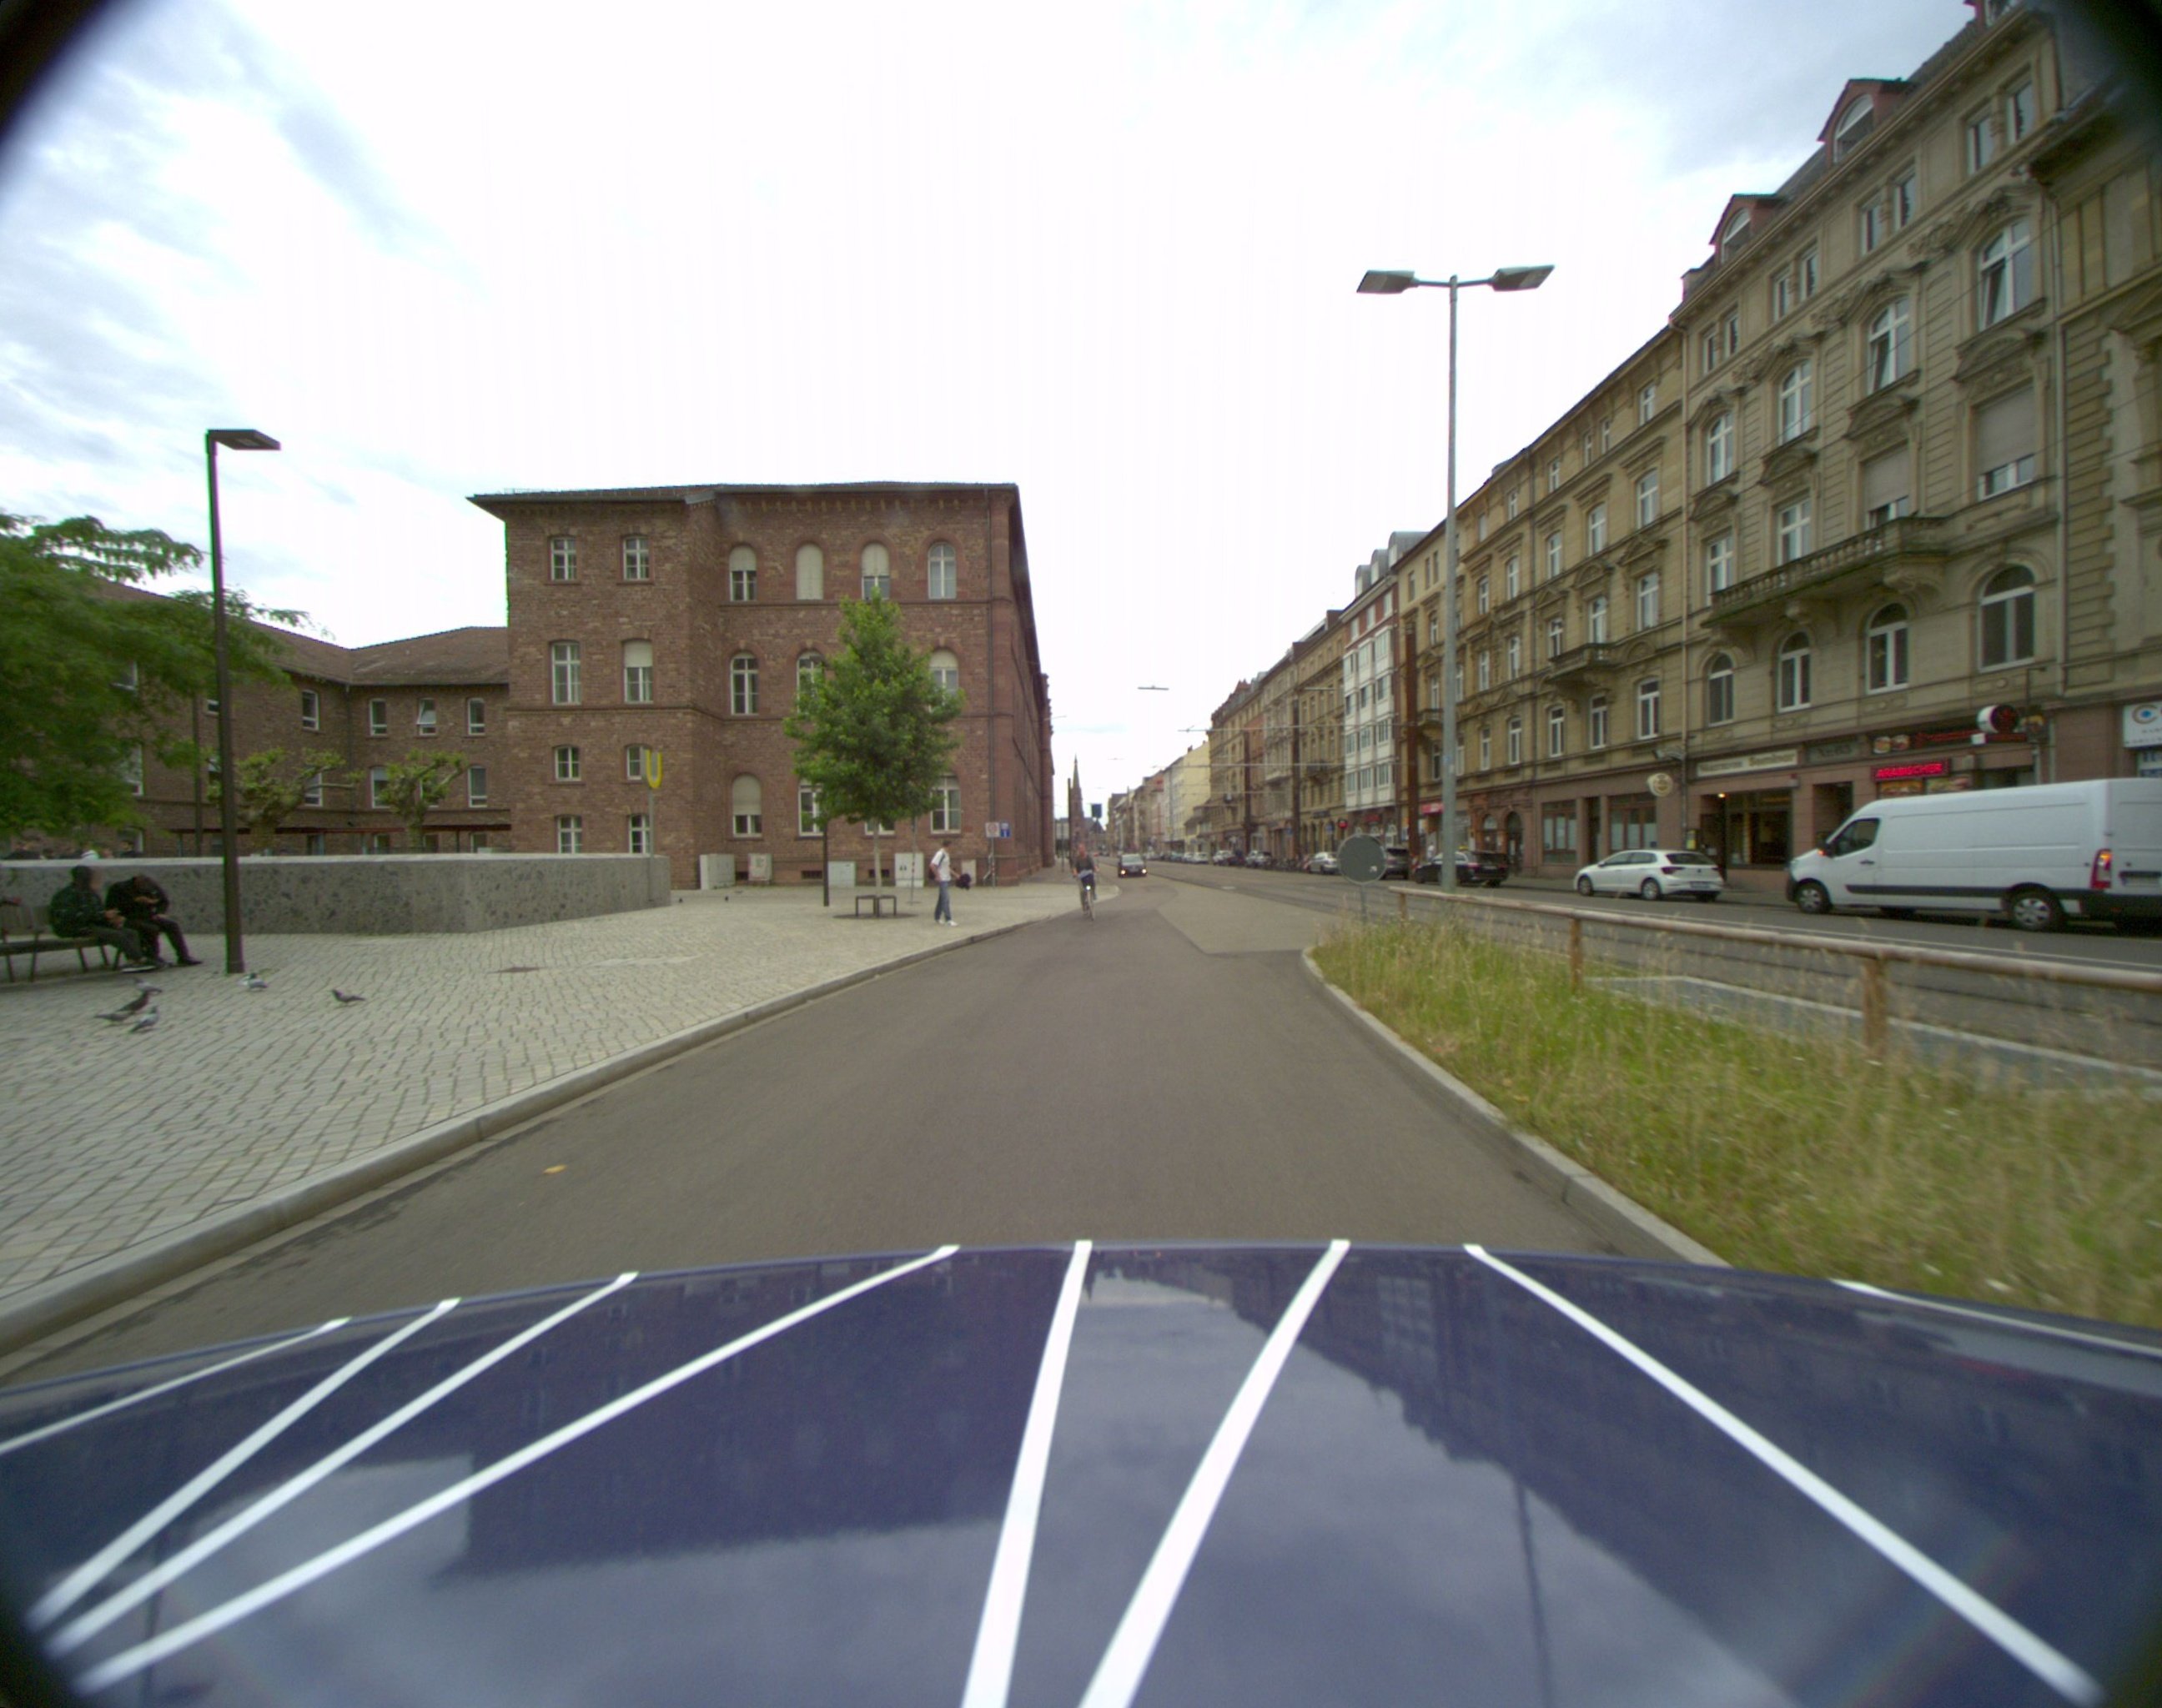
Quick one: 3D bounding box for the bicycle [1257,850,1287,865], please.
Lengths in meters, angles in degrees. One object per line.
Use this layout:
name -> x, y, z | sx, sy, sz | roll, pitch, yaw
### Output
bicycle -> 15.750, 0.270, 62.695 | 2.288, 1.196, 0.547 | -2, 1, -1

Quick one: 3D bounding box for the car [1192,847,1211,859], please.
car -> 15.219, -0.132, 96.051 | 1.748, 1.456, 4.045 | 0, 0, -2

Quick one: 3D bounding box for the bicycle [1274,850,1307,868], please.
bicycle -> 15.982, 0.371, 57.974 | 2.288, 1.322, 0.666 | 1, 1, -1

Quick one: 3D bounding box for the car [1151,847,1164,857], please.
car -> 14.256, -0.310, 141.329 | 1.929, 1.722, 3.825 | -2, 1, -2

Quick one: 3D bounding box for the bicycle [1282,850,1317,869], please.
bicycle -> 15.864, 0.374, 55.148 | 2.288, 1.322, 0.666 | 1, 1, -1

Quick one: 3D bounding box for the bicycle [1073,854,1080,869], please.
bicycle -> -0.353, 0.603, 61.120 | 0.472, 1.152, 2.272 | -1, 1, -1

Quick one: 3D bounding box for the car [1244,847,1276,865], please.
car -> 15.647, 0.139, 66.698 | 1.748, 1.524, 4.224 | 0, 0, -2

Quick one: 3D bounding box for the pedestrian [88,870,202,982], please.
pedestrian -> -12.932, 0.957, 10.531 | 0.781, 1.447, 0.766 | 1, 1, -31

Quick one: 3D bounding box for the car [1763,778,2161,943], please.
car -> 16.498, 0.091, 14.266 | 2.058, 2.472, 5.664 | 1, 1, -2

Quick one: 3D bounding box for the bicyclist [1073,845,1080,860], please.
bicyclist -> -0.371, -0.125, 61.161 | 0.587, 1.164, 0.662 | -1, 1, -2

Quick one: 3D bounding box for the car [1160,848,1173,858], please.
car -> 14.668, -0.181, 130.231 | 1.705, 1.662, 4.180 | -2, 1, 0

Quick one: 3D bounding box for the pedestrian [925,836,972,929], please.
pedestrian -> -2.746, 0.585, 15.842 | 0.872, 1.890, 0.773 | 0, 1, -2

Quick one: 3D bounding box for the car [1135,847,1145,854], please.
car -> 13.457, -0.894, 172.087 | 1.868, 1.553, 3.999 | 1, 1, -1

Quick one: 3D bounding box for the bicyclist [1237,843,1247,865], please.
bicyclist -> 13.746, -0.022, 64.909 | 0.647, 1.872, 1.028 | -2, 1, 0

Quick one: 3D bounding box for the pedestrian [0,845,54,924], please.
pedestrian -> -22.727, 0.656, 16.370 | 0.513, 1.661, 0.592 | 0, 0, 19

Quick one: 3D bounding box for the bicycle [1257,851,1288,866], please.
bicycle -> 15.624, 0.342, 62.009 | 2.288, 1.196, 0.705 | 1, 1, -1

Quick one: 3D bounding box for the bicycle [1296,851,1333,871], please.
bicycle -> 15.881, 0.458, 51.690 | 2.288, 1.322, 0.666 | 1, 1, -1

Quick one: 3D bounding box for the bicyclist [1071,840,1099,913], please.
bicyclist -> 0.104, 0.507, 17.857 | 0.570, 1.674, 0.794 | -1, 1, 5

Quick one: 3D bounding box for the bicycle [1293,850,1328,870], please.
bicycle -> 15.820, 0.435, 52.410 | 2.288, 1.322, 0.521 | 1, 1, -1

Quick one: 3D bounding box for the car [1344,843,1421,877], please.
car -> 15.960, 0.288, 40.549 | 1.818, 1.680, 5.029 | 0, 0, -4

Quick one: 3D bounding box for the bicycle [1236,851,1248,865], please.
bicycle -> 13.781, 0.343, 64.970 | 0.586, 1.167, 2.044 | 1, 1, 0

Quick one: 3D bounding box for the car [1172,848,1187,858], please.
car -> 15.006, -0.134, 115.581 | 1.651, 1.373, 3.435 | 0, 0, -4

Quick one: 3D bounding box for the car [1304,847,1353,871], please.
car -> 15.771, 0.298, 48.636 | 1.748, 1.480, 3.919 | 0, 0, -2

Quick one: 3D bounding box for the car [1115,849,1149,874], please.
car -> 3.292, 0.472, 49.557 | 1.748, 1.538, 3.649 | -2, 1, -3

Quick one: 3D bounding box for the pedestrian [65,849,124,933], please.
pedestrian -> -20.107, 0.741, 15.495 | 0.513, 1.661, 0.592 | 0, 0, 19

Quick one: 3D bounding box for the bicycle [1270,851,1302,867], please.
bicycle -> 15.952, 0.406, 59.227 | 2.288, 1.196, 0.666 | 1, 1, -1

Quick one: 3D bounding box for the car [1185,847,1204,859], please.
car -> 15.075, -0.084, 100.828 | 1.829, 1.512, 4.544 | 0, 0, -1

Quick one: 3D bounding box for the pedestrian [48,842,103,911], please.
pedestrian -> -28.032, 0.628, 21.188 | 0.664, 1.879, 0.534 | -2, 1, -5

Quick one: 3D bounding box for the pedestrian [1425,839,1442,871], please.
pedestrian -> 19.561, 0.061, 42.157 | 0.653, 1.772, 0.787 | -1, 1, 36

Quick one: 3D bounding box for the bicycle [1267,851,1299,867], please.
bicycle -> 15.937, 0.380, 59.941 | 2.288, 1.196, 0.666 | 1, 1, -1

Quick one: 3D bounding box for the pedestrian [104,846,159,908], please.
pedestrian -> -27.442, 0.663, 21.972 | 0.664, 1.747, 0.631 | -2, 1, -10

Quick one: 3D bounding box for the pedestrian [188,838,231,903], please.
pedestrian -> -22.804, 0.433, 19.878 | 0.513, 1.661, 0.592 | 0, 0, 22

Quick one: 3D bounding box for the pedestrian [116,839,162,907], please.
pedestrian -> -23.599, 0.472, 19.040 | 0.513, 1.661, 0.592 | 0, 0, 20

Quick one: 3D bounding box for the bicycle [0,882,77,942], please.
bicycle -> -19.880, 1.055, 14.002 | 2.029, 1.058, 0.470 | 1, 1, -2

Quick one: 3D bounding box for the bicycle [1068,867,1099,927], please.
bicycle -> 0.082, 0.963, 17.682 | 0.524, 1.253, 1.942 | -1, 1, 6

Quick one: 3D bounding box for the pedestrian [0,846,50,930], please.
pedestrian -> -21.576, 0.685, 15.463 | 0.513, 1.661, 0.592 | 0, 0, 22

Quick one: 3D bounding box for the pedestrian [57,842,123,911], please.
pedestrian -> -29.521, 0.645, 22.647 | 0.759, 2.002, 0.820 | -2, 1, 2

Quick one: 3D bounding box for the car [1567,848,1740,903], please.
car -> 16.467, 0.544, 22.164 | 1.776, 1.414, 4.163 | 1, 1, -3

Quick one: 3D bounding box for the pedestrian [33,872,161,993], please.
pedestrian -> -12.645, 0.974, 9.800 | 0.781, 1.447, 0.766 | 1, 1, -31

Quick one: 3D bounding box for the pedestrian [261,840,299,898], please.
pedestrian -> -23.346, 0.425, 22.158 | 0.513, 1.661, 0.592 | 0, 0, 20

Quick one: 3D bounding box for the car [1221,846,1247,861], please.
car -> 15.441, -0.021, 76.885 | 1.748, 1.480, 3.920 | 0, 0, 0

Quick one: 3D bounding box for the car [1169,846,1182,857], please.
car -> 14.907, -0.426, 120.058 | 1.707, 1.747, 3.919 | 0, 1, 1

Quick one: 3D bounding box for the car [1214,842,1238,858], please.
car -> 15.500, -0.397, 81.273 | 1.748, 1.663, 4.045 | 0, 0, -2

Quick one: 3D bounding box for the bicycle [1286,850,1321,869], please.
bicycle -> 15.868, 0.397, 54.320 | 2.288, 1.322, 0.666 | 1, 1, -1

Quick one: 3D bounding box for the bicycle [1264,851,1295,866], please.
bicycle -> 15.877, 0.348, 60.715 | 2.288, 1.196, 0.705 | 1, 1, -1

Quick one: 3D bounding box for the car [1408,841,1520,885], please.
car -> 15.802, 0.327, 31.733 | 1.924, 1.679, 5.050 | 1, 1, -3
